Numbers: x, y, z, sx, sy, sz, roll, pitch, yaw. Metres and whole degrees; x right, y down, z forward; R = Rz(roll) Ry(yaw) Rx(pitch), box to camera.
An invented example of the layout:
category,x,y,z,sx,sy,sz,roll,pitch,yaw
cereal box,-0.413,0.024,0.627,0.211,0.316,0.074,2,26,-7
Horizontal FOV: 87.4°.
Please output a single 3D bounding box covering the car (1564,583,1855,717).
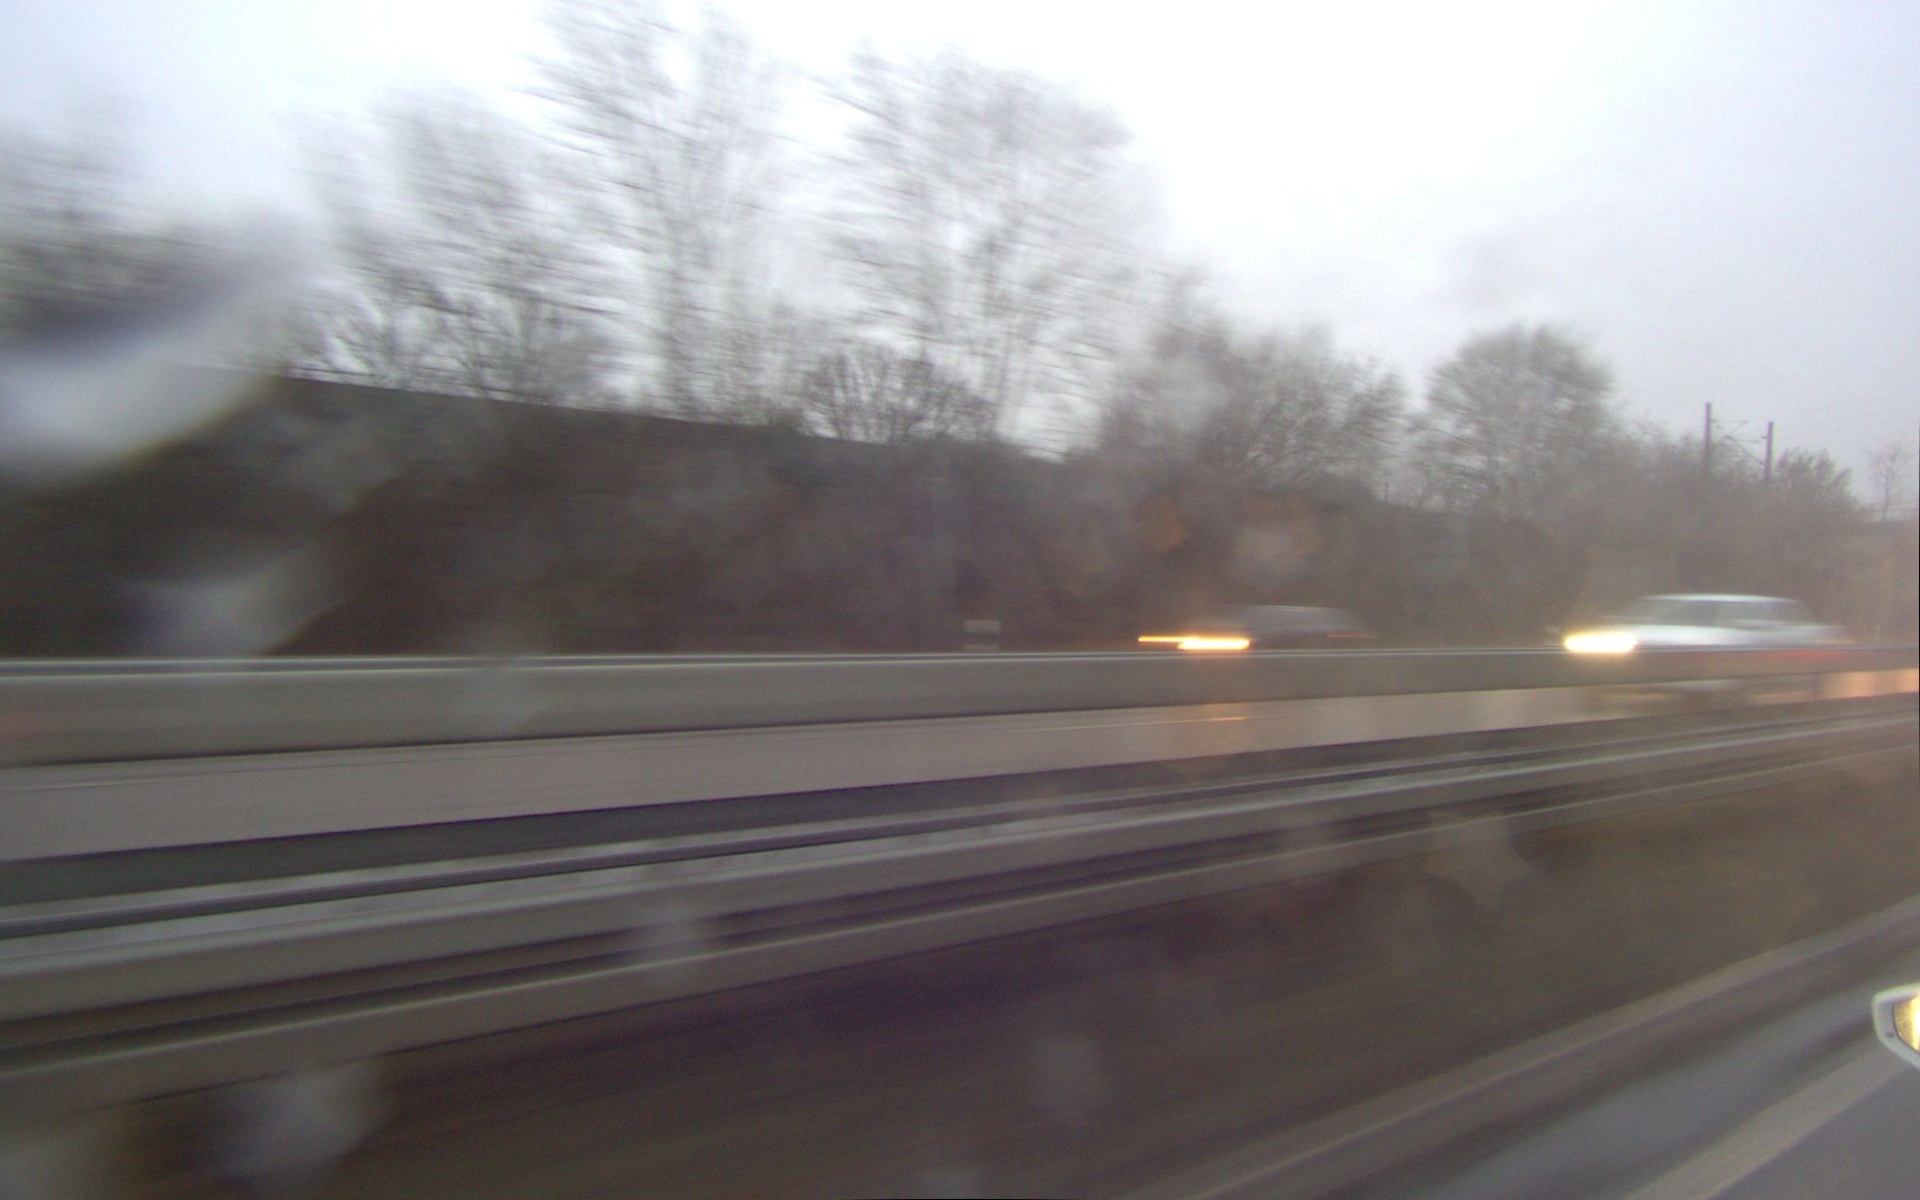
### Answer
category,x,y,z,sx,sy,sz,roll,pitch,yaw
car,12.197,0.790,16.259,5.061,1.855,1.976,3,0,-31
